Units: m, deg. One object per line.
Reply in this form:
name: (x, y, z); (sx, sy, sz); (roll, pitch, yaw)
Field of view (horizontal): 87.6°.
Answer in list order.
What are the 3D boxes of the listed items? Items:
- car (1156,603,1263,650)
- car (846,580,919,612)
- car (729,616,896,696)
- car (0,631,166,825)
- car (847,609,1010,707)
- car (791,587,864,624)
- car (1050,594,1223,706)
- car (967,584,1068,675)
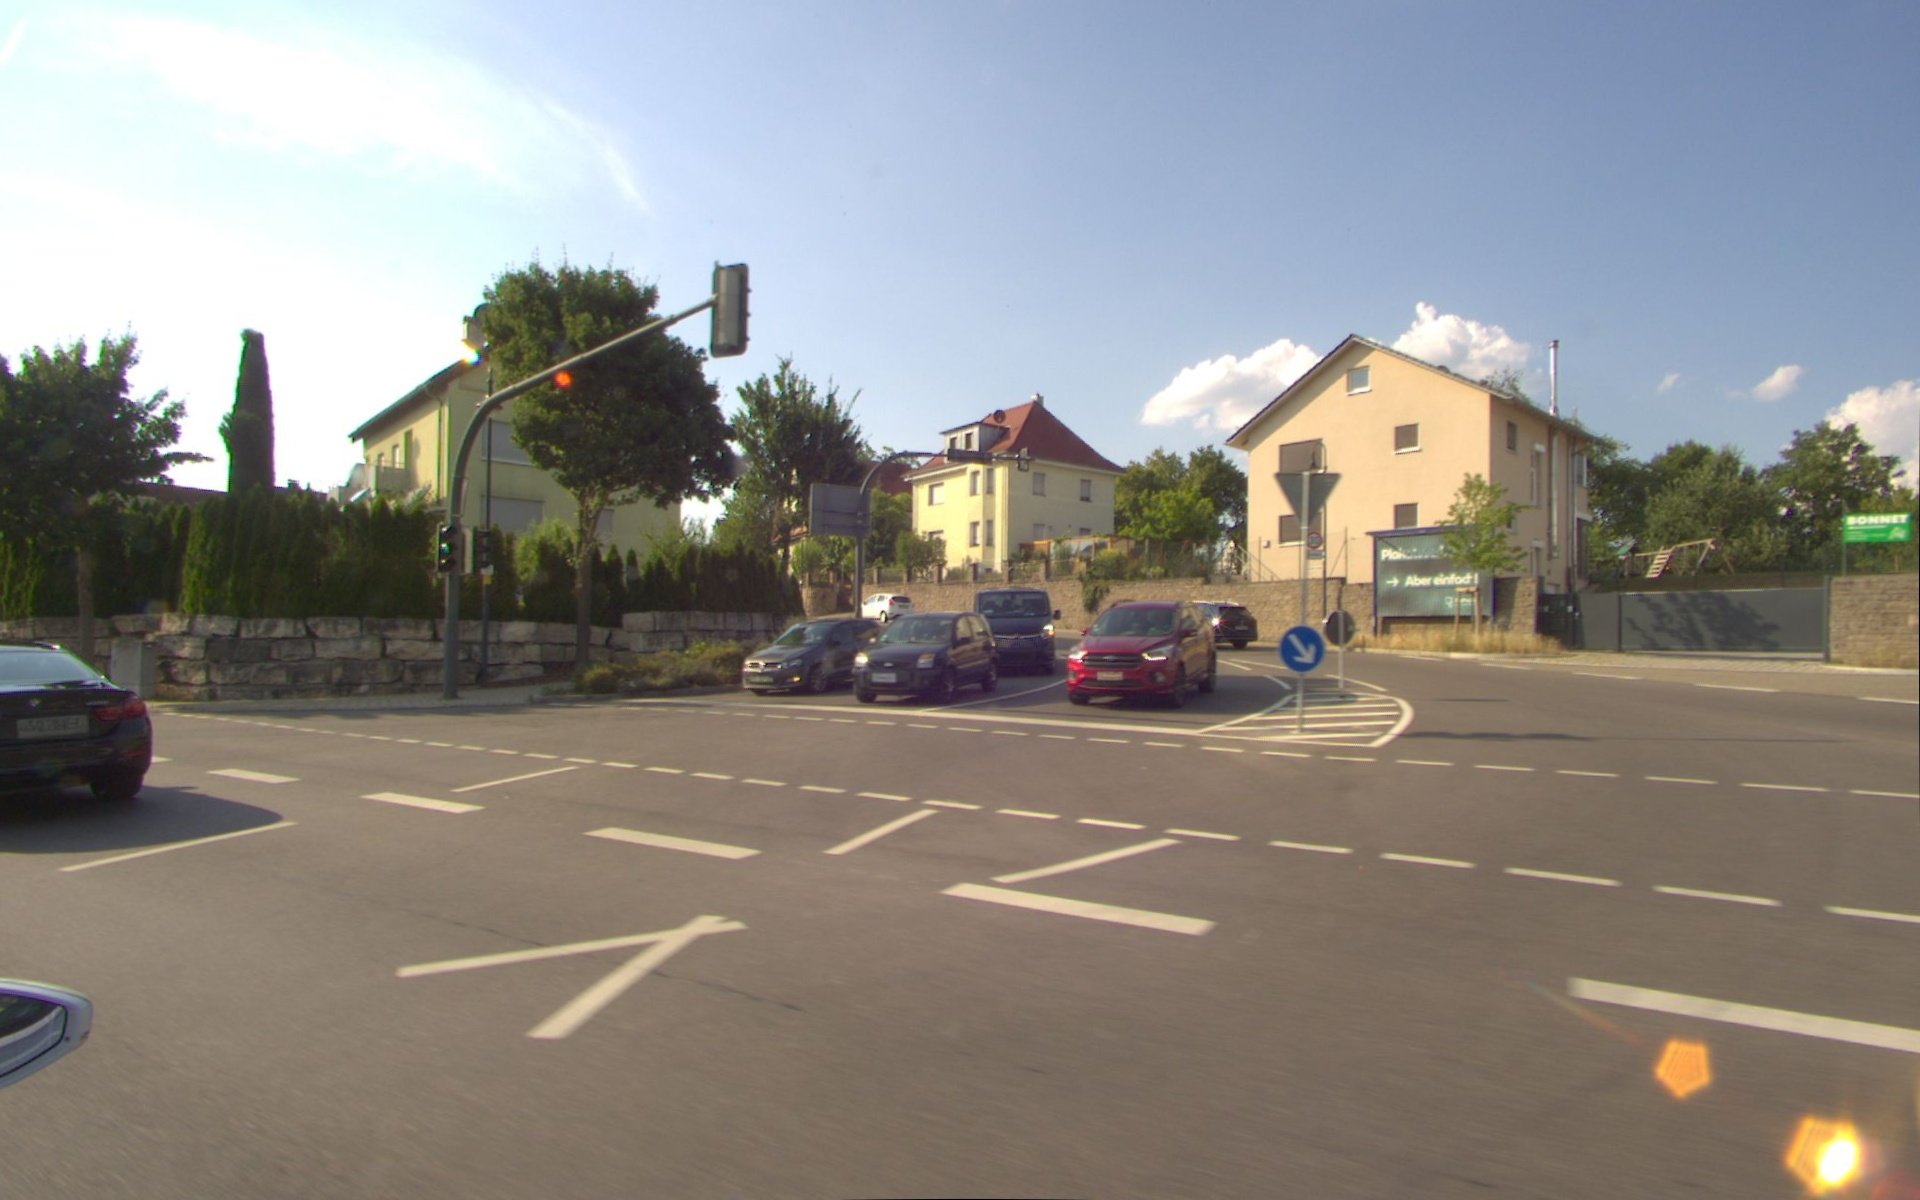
car: (7.970, 0.851, 32.419); (1.605, 1.428, 4.274); (1, -1, -13)
car: (-3.946, -0.172, 50.652); (1.846, 1.513, 3.970); (1, -2, -37)
car: (-2.970, 1.101, 20.859); (1.601, 1.468, 3.595); (-1, -1, 28)
car: (-8.759, 0.988, 8.684); (4.202, 1.386, 1.696); (0, -1, 33)
car: (-0.451, 0.962, 18.032); (1.571, 1.562, 3.790); (-1, -1, 21)
car: (-6.348, 0.288, 47.694); (1.973, 1.664, 3.977); (1, -2, -32)
car: (3.154, 0.808, 17.122); (1.832, 1.646, 4.239); (0, -2, 26)
car: (1.278, 0.710, 24.338); (1.961, 1.957, 5.180); (1, -2, -2)
